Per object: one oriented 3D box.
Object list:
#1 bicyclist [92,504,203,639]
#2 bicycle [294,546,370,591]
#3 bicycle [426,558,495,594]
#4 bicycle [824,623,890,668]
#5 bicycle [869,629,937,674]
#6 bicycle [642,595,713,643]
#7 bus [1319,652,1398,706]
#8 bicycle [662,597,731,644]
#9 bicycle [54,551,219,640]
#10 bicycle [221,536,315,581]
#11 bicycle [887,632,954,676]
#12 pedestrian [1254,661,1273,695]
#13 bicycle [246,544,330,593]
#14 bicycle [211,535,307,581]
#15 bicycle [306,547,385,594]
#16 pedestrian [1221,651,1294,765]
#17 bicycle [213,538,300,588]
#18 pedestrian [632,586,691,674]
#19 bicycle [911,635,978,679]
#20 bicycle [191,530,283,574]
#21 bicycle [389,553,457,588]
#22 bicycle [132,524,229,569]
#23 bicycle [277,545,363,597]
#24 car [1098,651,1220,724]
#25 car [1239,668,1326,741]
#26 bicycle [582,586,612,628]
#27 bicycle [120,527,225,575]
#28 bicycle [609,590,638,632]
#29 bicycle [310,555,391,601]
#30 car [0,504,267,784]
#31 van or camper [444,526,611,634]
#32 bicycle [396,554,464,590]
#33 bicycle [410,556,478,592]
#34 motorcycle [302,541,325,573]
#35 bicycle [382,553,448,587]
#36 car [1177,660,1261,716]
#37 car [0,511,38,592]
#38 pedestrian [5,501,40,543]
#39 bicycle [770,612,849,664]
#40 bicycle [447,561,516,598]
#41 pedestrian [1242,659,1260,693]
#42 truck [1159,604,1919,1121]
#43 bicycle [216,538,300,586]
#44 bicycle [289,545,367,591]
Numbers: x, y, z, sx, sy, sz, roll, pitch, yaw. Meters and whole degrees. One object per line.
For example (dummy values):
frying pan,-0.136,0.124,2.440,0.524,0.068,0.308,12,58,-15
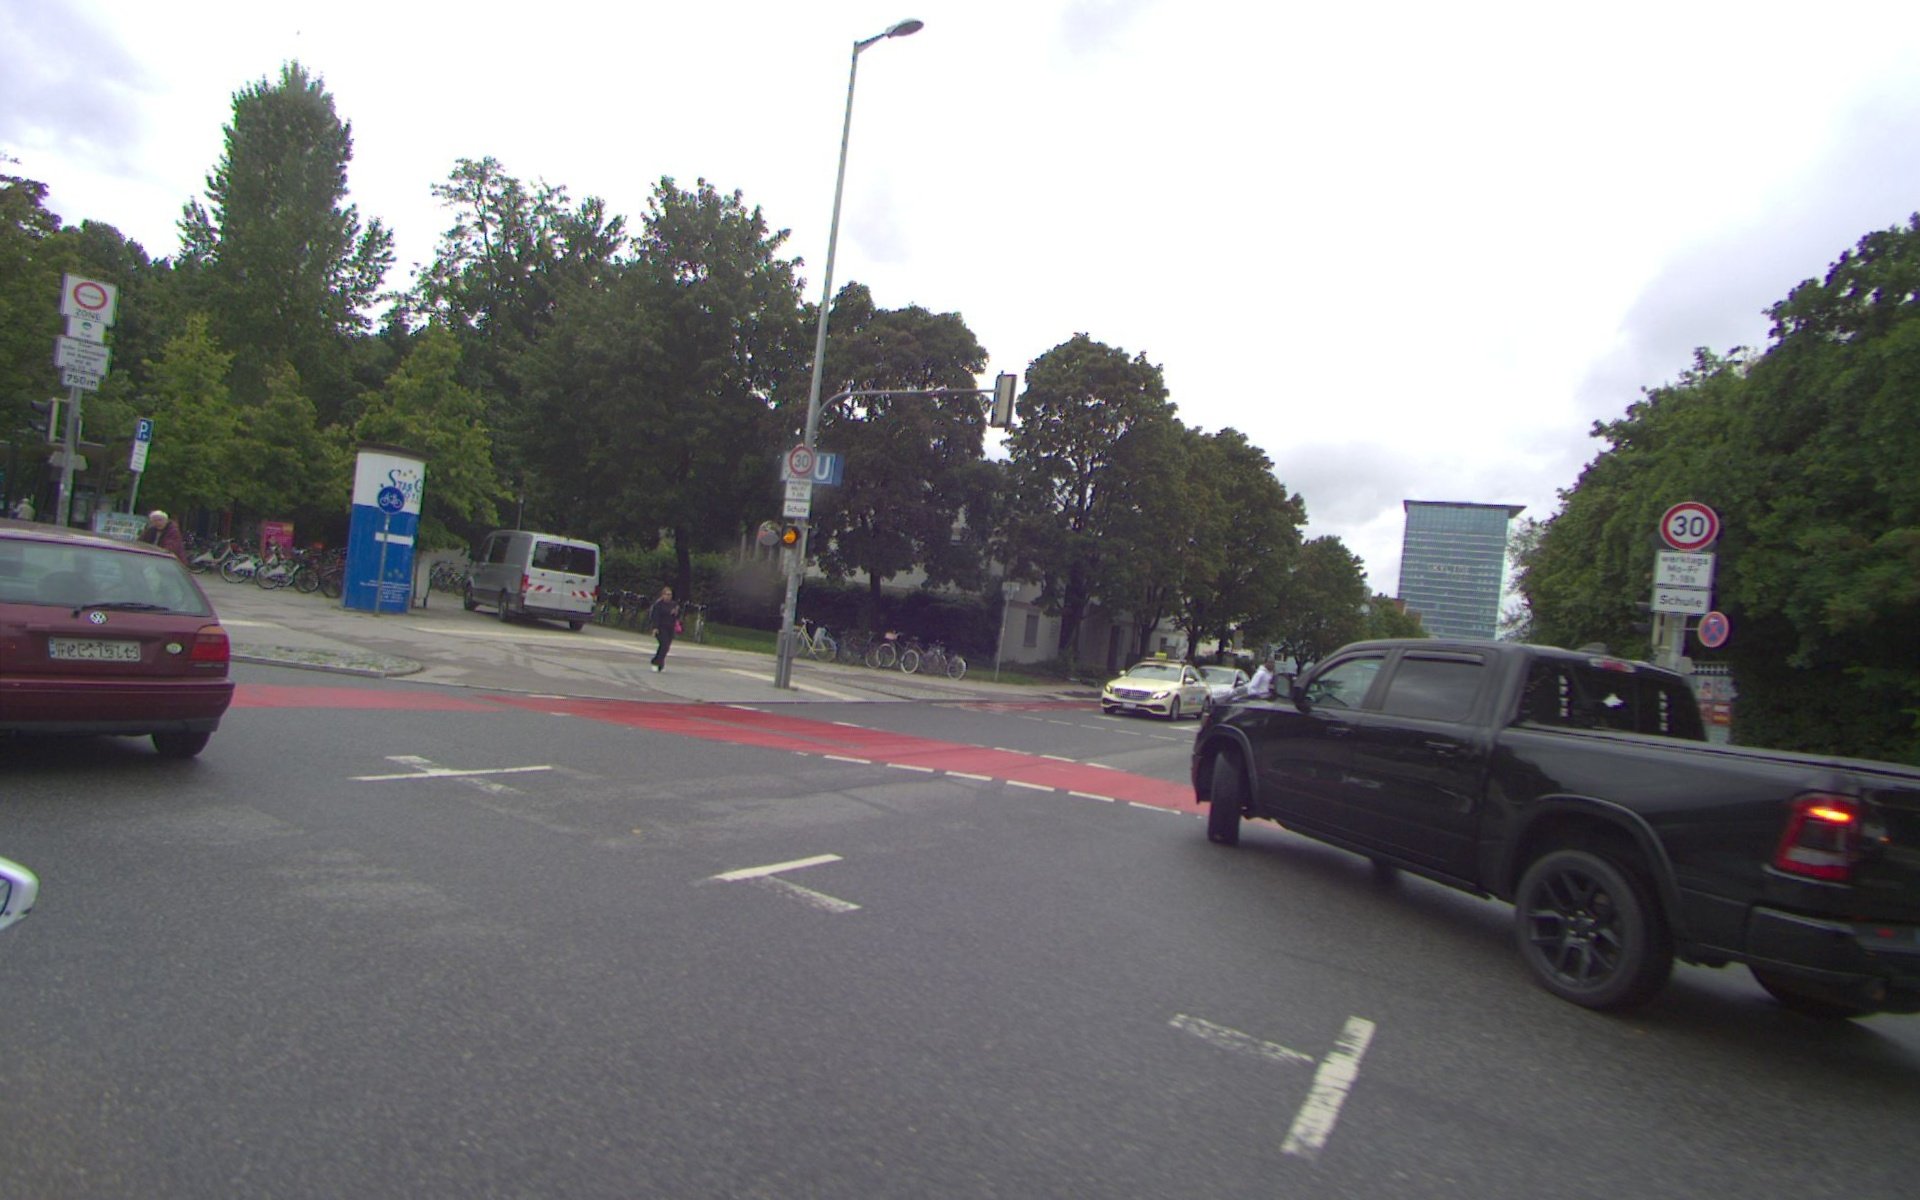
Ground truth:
bicyclist,-11.542,-0.392,14.327,0.733,1.785,0.827,7,0,-4
bicycle,-18.817,-0.940,30.200,0.558,1.157,1.808,7,1,31
bicycle,-18.777,-0.876,37.883,0.520,1.172,2.340,7,1,30
bicycle,-3.141,1.371,30.529,2.083,1.108,0.607,6,-1,39
bicycle,-1.742,1.545,30.482,2.084,1.108,0.607,6,-1,40
bicycle,-8.397,0.550,29.886,2.094,1.167,0.717,6,0,34
bus,29.418,5.923,73.849,2.689,3.321,11.866,7,-1,34
bicycle,-8.042,0.630,30.638,2.094,1.167,0.697,6,0,34
bicycle,-11.579,-0.045,14.248,0.734,1.094,1.947,7,-1,-4
bicycle,-21.784,-1.282,31.718,0.575,1.172,2.340,7,1,30
bicycle,-1.236,1.659,31.079,2.083,1.108,0.607,6,-1,39
pedestrian,17.426,4.467,57.779,0.599,1.849,0.704,7,0,41
bicycle,-17.996,-0.828,26.989,0.557,1.157,1.811,6,0,20
bicycle,-21.509,-1.279,30.923,0.575,1.172,2.340,7,1,30
bicycle,-17.615,-0.823,28.872,0.558,1.157,1.806,7,1,36
pedestrian,4.936,1.768,16.691,0.922,1.723,0.762,7,0,21
bicycle,-19.287,-1.010,27.621,0.559,1.157,1.804,7,1,40
pedestrian,-5.699,0.573,19.184,0.687,1.557,0.729,7,0,-40
bicycle,-0.496,1.774,31.328,2.083,1.108,0.607,6,-1,39
bicycle,-23.270,-1.525,32.428,0.575,1.172,2.340,7,1,30
bicycle,-21.077,-1.126,39.551,0.520,1.172,2.340,7,1,30
bicycle,-24.782,-1.679,32.035,0.520,1.172,2.340,7,1,30
bicycle,-17.244,-0.769,27.149,0.557,1.227,1.945,6,0,20
car,5.276,2.278,26.228,1.854,1.515,4.311,7,-1,27
car,8.140,2.562,25.221,1.598,1.471,3.950,7,-1,23
bicycle,-11.310,0.205,31.353,0.708,1.167,2.120,7,-1,-19
bicycle,-23.323,-1.435,29.841,0.575,1.172,2.340,7,1,30
bicycle,-10.558,0.321,31.587,0.708,1.167,2.120,7,-1,-19
bicycle,-16.121,-0.566,26.668,0.557,1.085,1.811,6,0,20
car,-6.496,0.085,6.595,3.883,1.471,1.625,6,-1,30
van or camper,-11.729,-0.625,26.965,2.134,2.324,6.127,8,-1,-41
bicycle,-20.613,-1.076,39.194,0.520,1.172,2.340,7,1,30
bicycle,-19.675,-0.979,38.396,0.520,1.172,2.340,7,1,30
motorcycle,-26.604,-1.790,41.374,0.652,1.191,1.797,7,-1,-33
bicycle,-21.794,-1.195,40.274,0.520,1.172,2.340,7,1,30
car,8.337,2.807,32.200,1.599,1.471,3.946,7,-1,28
car,-19.018,-1.122,18.414,4.542,1.376,1.714,6,-2,29
pedestrian,-36.708,-3.056,39.380,0.681,1.531,0.580,7,0,12
bicycle,-4.463,1.120,29.920,2.074,1.266,0.704,7,0,5
bicycle,-17.615,-0.745,37.128,0.520,1.172,2.340,7,1,30
pedestrian,16.771,4.401,58.007,0.599,1.849,0.704,7,0,39
truck,3.838,1.214,7.203,2.074,2.037,5.793,7,-1,-17
bicycle,-19.901,-1.052,28.552,0.558,1.157,1.806,7,1,36
bicycle,-18.510,-0.920,29.507,0.558,1.157,1.808,7,1,31
